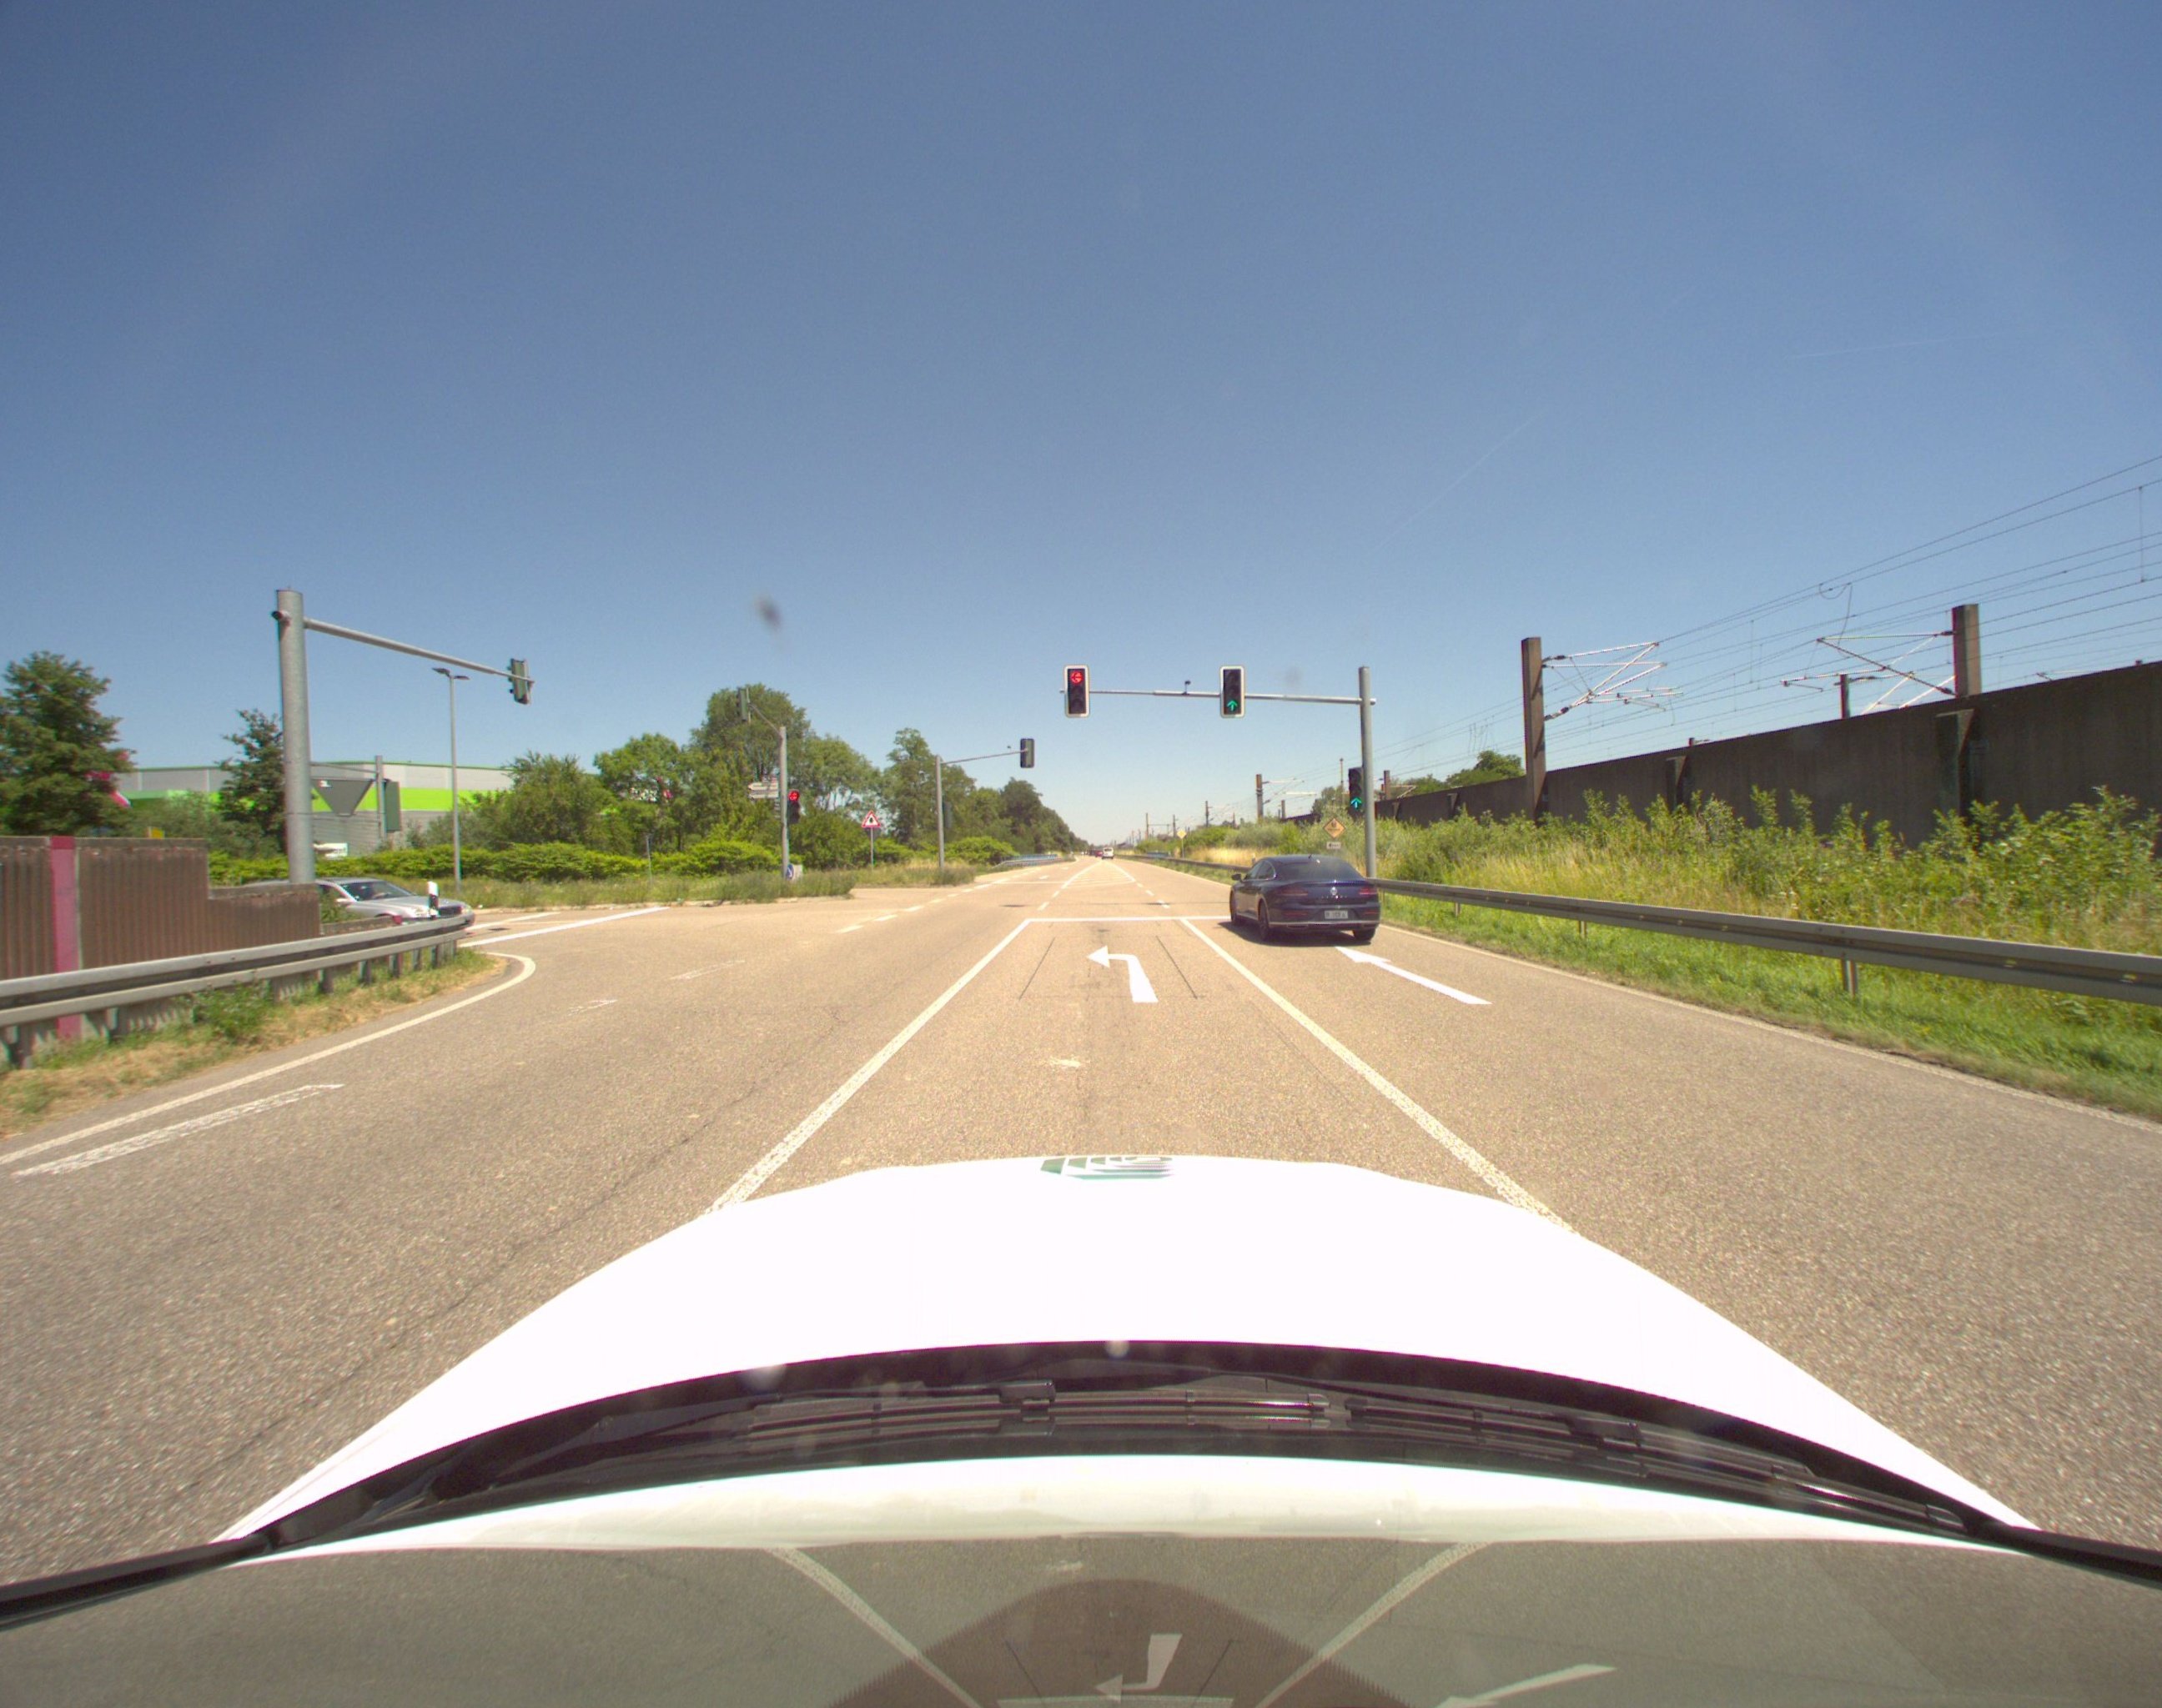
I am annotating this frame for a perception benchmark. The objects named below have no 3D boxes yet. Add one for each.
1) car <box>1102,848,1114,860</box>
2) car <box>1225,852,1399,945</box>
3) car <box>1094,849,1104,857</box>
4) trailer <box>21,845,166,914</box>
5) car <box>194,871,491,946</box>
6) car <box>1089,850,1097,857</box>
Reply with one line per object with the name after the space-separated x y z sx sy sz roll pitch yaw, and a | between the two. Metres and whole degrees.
4.648 -0.052 139.458 1.987 1.983 4.059 0 0 0 | car
3.871 0.665 14.519 1.850 1.379 4.503 0 0 0 | car
4.146 -0.197 185.779 2.013 1.726 4.542 -1 0 0 | car
-42.351 1.045 35.081 3.780 2.764 1.804 -1 0 -45 | trailer
-16.522 1.183 18.409 4.938 1.457 1.877 -1 0 0 | car
3.648 -0.227 243.315 2.148 1.968 4.542 -1 0 0 | car
